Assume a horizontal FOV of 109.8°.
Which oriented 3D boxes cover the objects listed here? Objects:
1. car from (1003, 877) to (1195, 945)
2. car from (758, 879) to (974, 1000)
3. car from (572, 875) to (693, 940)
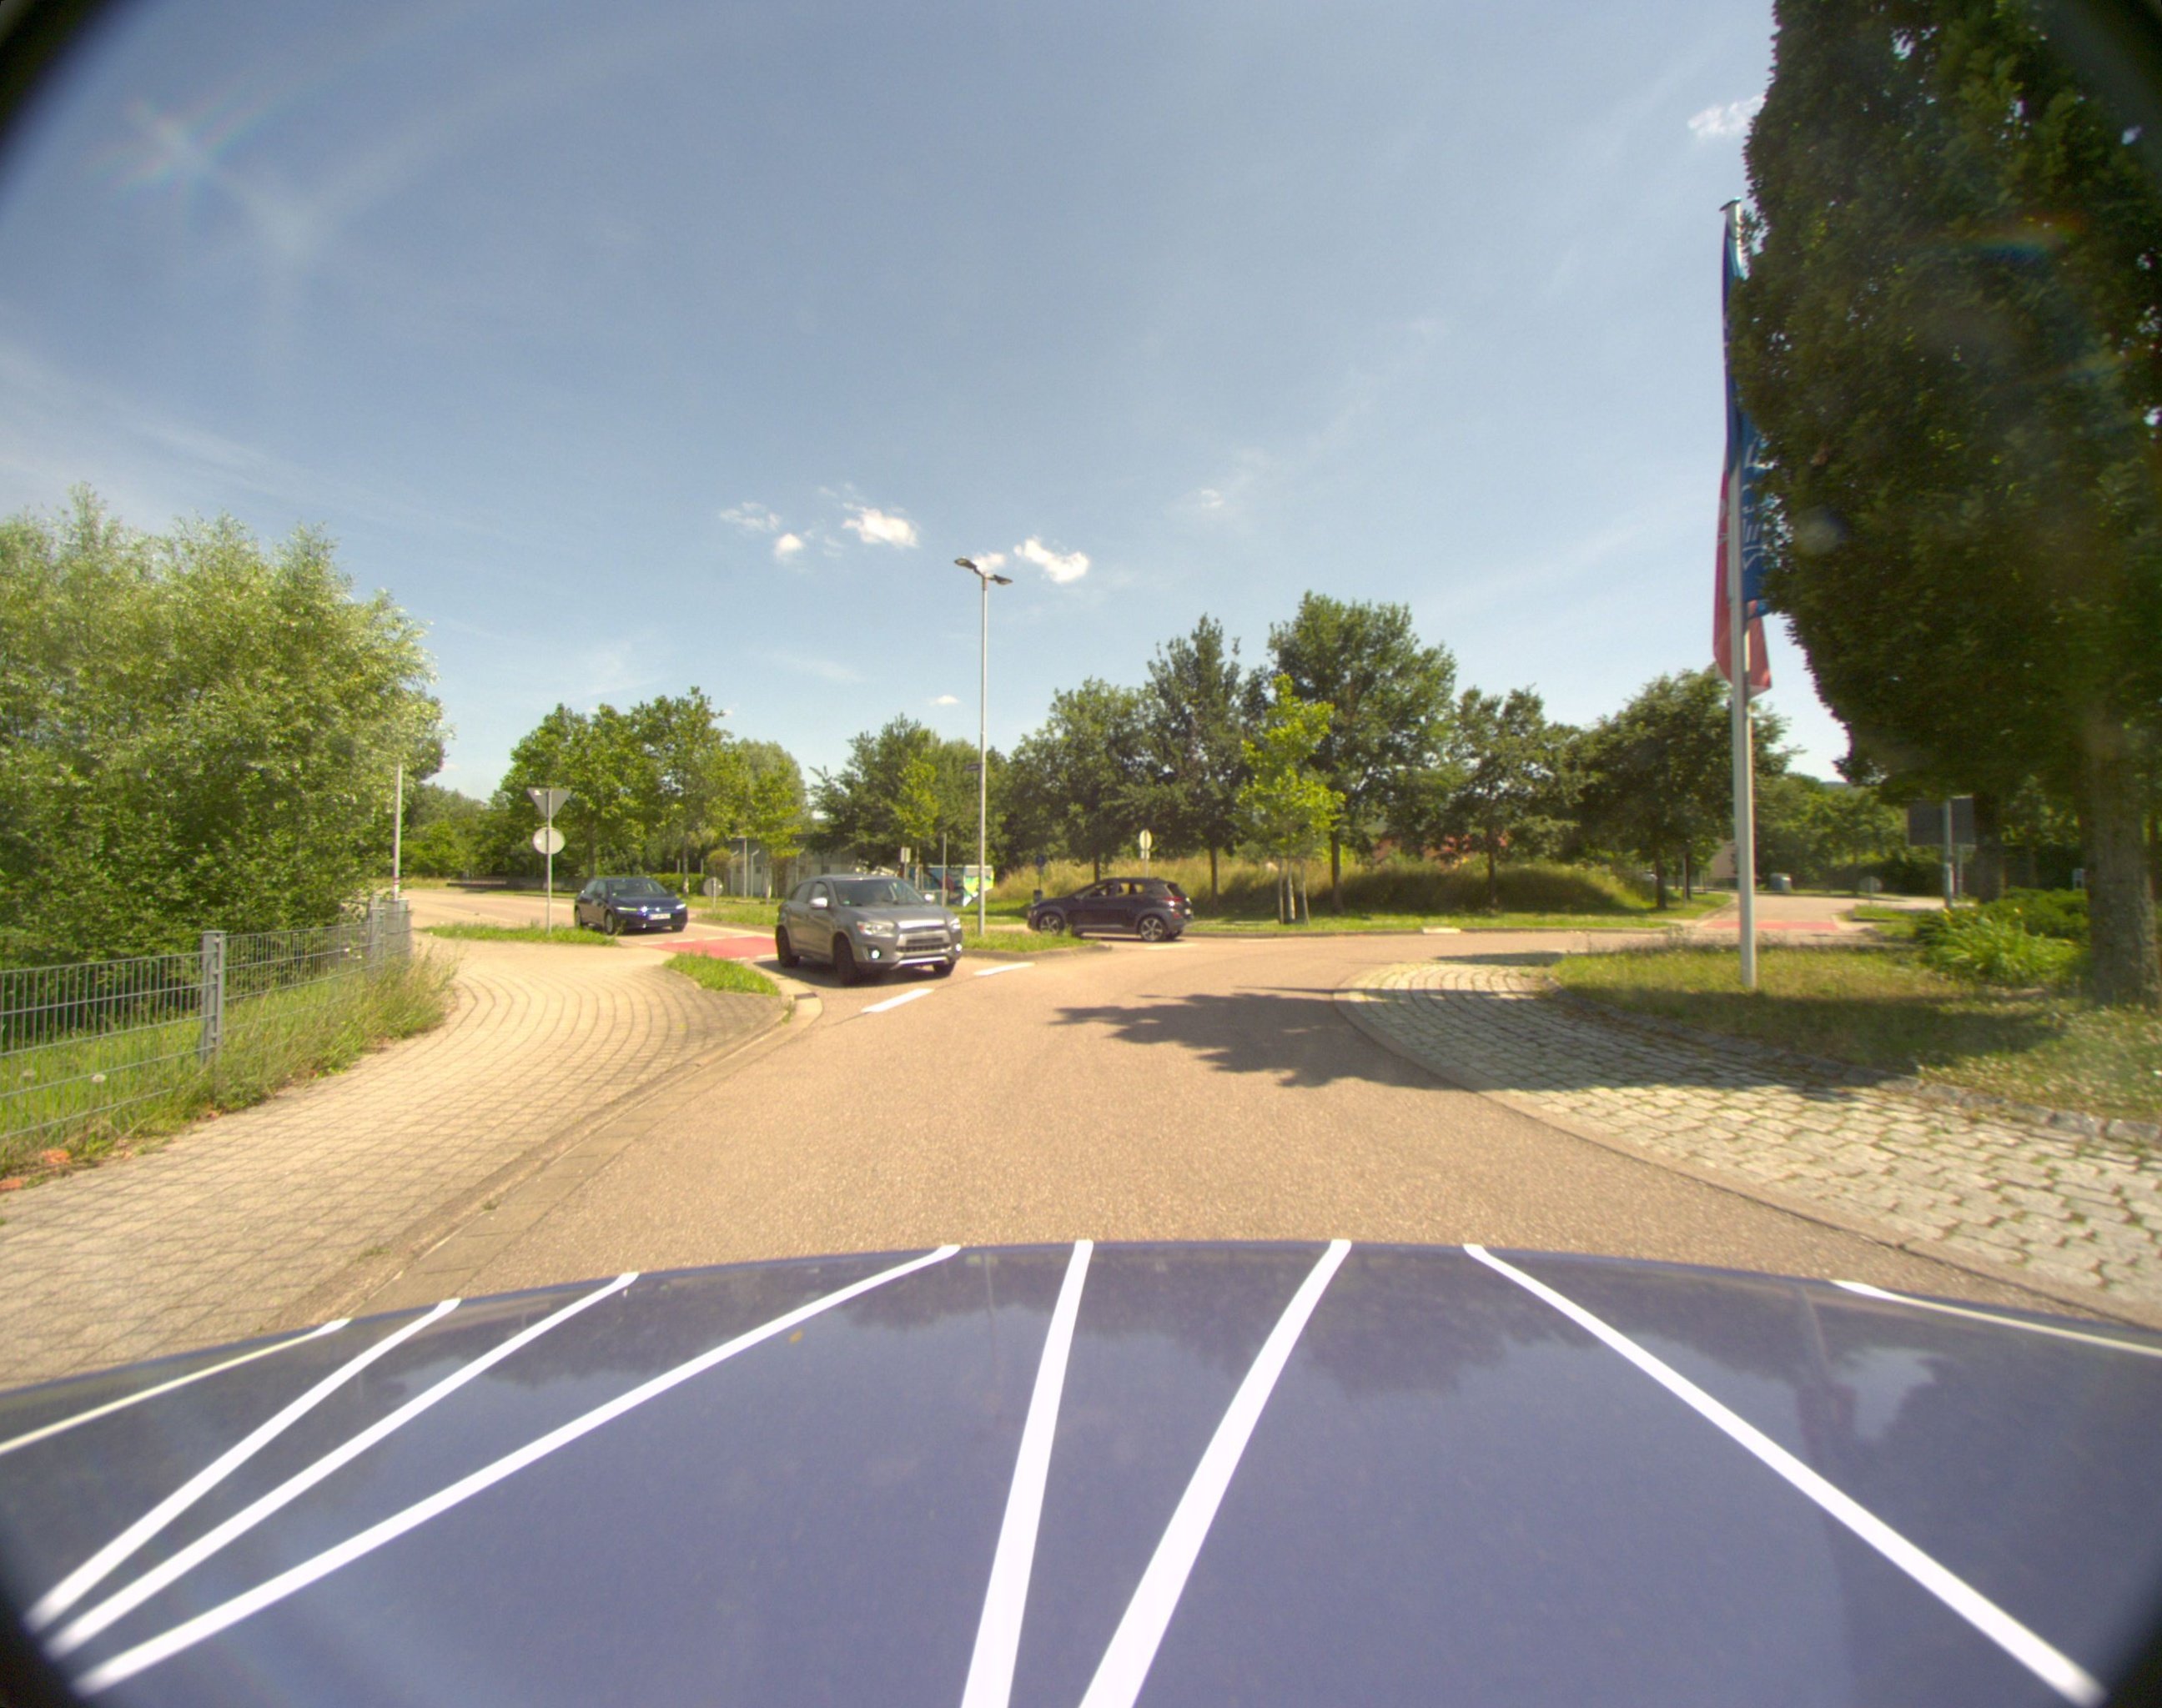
[{"bbox_3d":[0.462,1.379,19.192,4.476,1.559,1.870,-1,-2,21],"label":"car"},{"bbox_3d":[-3.698,1.216,12.480,1.755,1.525,4.512,0,-1,-39],"label":"car"},{"bbox_3d":[-12.073,1.347,20.345,1.798,1.530,4.120,0,-1,-45],"label":"car"}]
